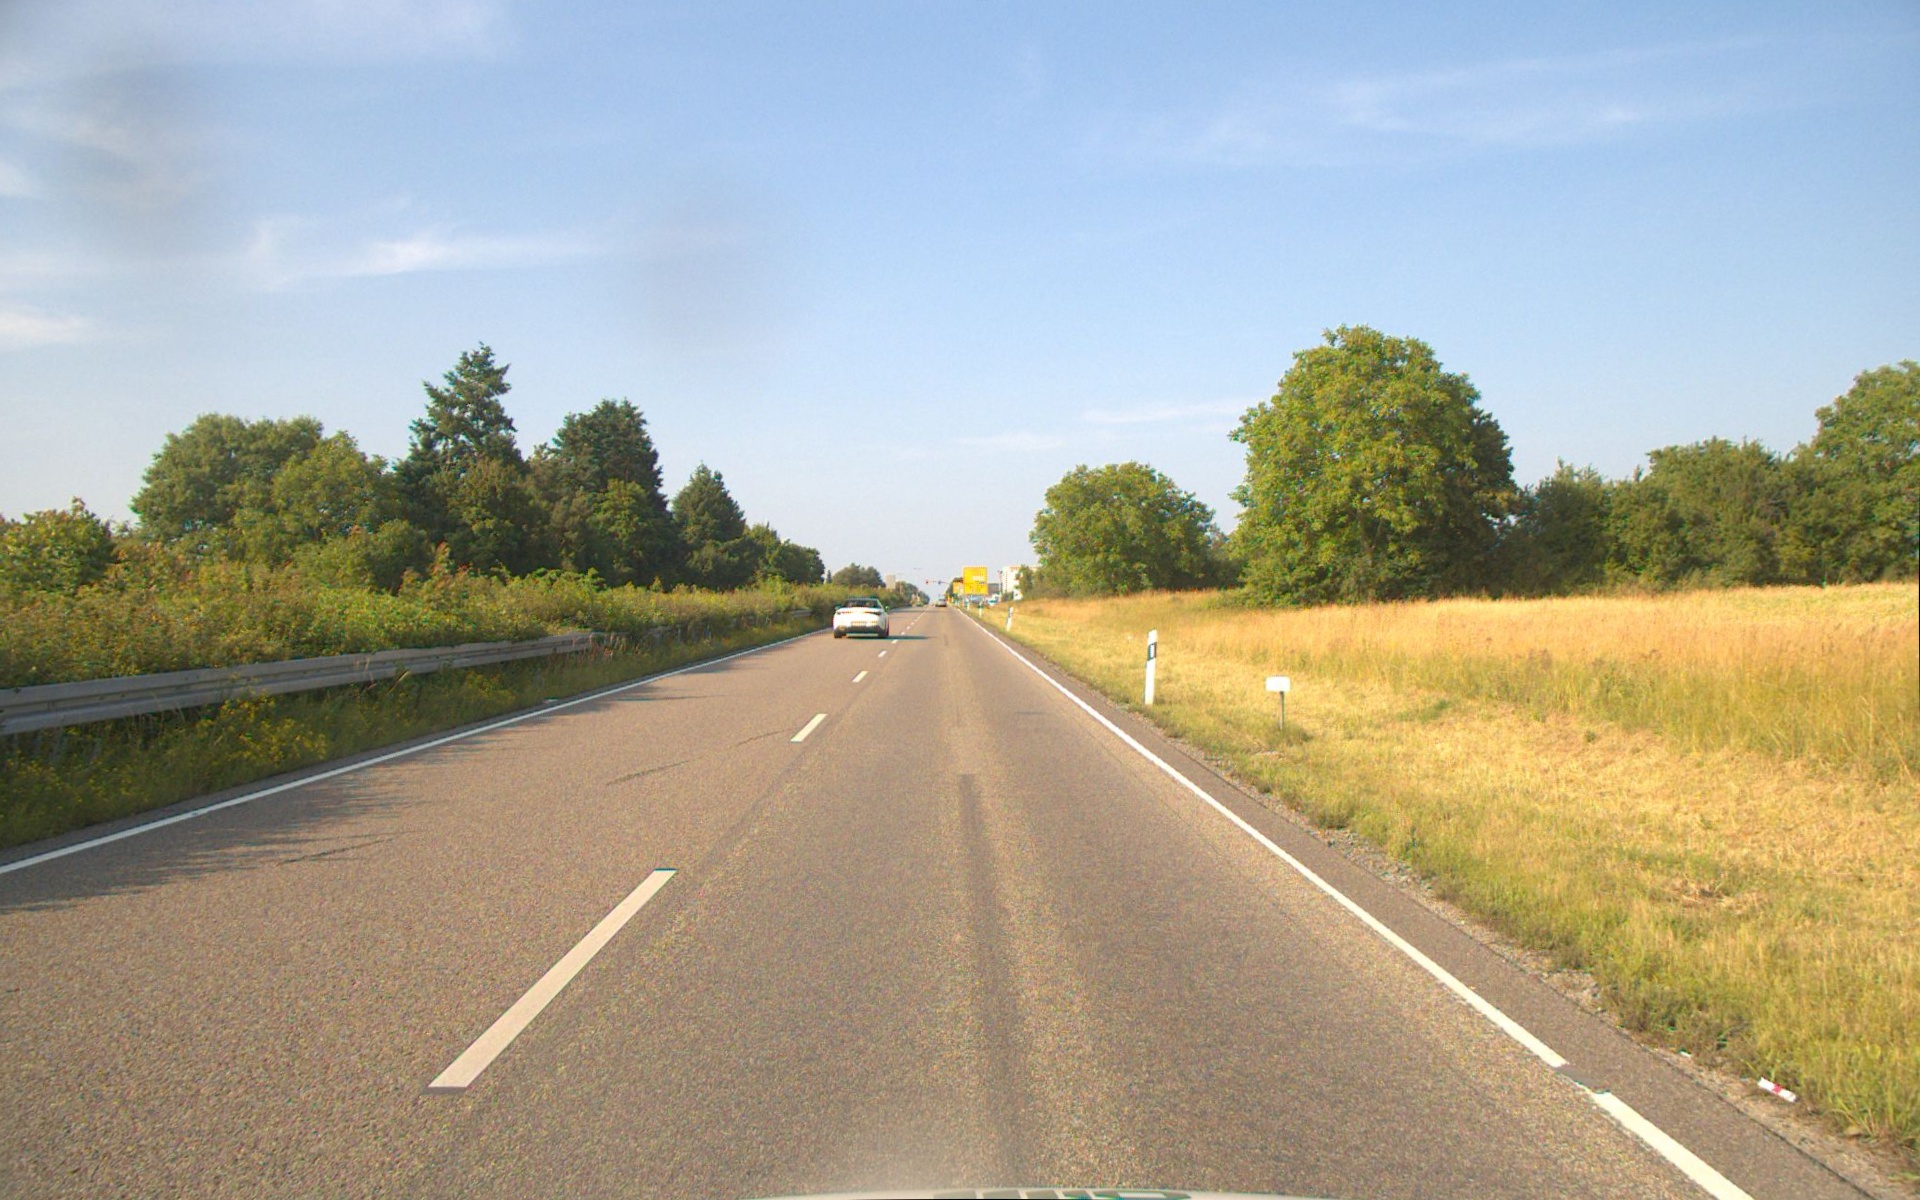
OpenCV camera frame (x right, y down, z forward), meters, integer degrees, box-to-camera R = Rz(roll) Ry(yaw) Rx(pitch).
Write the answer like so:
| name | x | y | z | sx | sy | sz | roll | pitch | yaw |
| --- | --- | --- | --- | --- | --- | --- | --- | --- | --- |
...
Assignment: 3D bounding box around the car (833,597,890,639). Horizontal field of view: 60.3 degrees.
| name | x | y | z | sx | sy | sz | roll | pitch | yaw |
| --- | --- | --- | --- | --- | --- | --- | --- | --- | --- |
| car | -3.456 | 0.613 | 58.858 | 1.871 | 1.447 | 3.999 | 0 | 0 | -1 |
